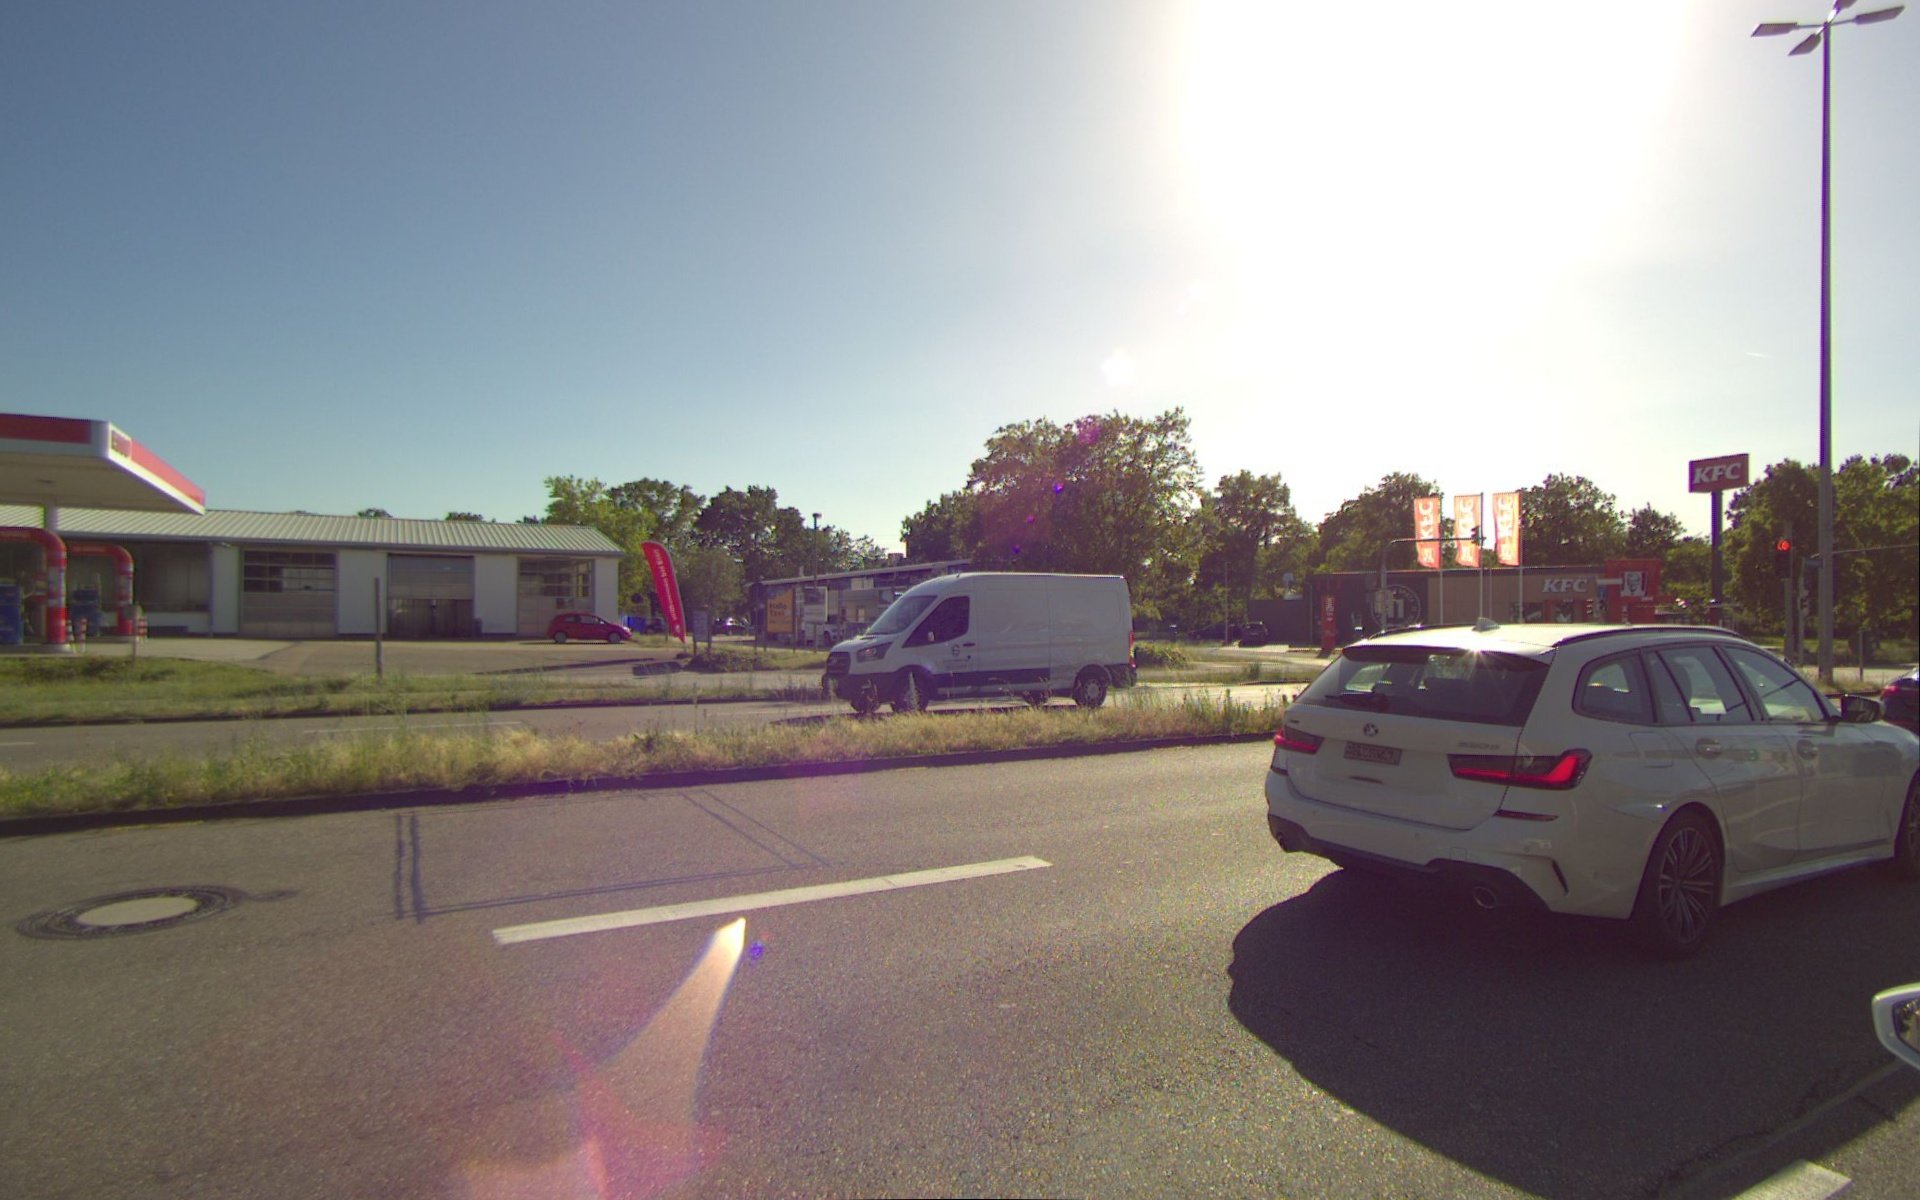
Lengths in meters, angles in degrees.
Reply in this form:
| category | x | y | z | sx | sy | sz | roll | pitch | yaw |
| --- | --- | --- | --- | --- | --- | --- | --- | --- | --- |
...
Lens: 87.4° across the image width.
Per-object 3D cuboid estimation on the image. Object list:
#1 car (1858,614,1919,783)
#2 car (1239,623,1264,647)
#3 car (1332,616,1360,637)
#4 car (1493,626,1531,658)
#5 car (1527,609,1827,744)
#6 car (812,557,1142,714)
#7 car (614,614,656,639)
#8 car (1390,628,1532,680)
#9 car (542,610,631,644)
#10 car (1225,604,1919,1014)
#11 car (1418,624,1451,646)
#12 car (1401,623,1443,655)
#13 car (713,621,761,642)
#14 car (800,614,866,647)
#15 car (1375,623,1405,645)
| category | x | y | z | sx | sy | sz | roll | pitch | yaw |
| --- | --- | --- | --- | --- | --- | --- | --- | --- | --- |
| car | 10.773 | 0.959 | 9.799 | 4.425 | 1.510 | 1.787 | 2 | 0 | -31 |
| car | 21.801 | 2.589 | 75.142 | 1.629 | 1.695 | 3.945 | 2 | 0 | 18 |
| car | 28.279 | 1.920 | 73.644 | 1.629 | 1.491 | 3.919 | 2 | 0 | 18 |
| car | 33.078 | 2.497 | 60.191 | 1.880 | 1.776 | 4.349 | 2 | 0 | 29 |
| car | 9.587 | 0.943 | 13.363 | 4.150 | 1.510 | 1.750 | 2 | 0 | -31 |
| car | 0.390 | 0.696 | 18.177 | 5.751 | 2.478 | 2.014 | 1 | -4 | -29 |
| car | -19.347 | 1.562 | 59.709 | 1.634 | 1.383 | 3.744 | 2 | 0 | -29 |
| car | 15.552 | 1.680 | 31.139 | 4.425 | 1.509 | 1.751 | 2 | -4 | -30 |
| car | -18.359 | 1.349 | 49.395 | 3.946 | 1.537 | 1.772 | 2 | 0 | -25 |
| car | 3.717 | 0.847 | 5.665 | 4.353 | 1.510 | 1.776 | 2 | 0 | -31 |
| car | 33.923 | 2.481 | 71.936 | 1.629 | 1.491 | 3.919 | 2 | 0 | 18 |
| car | 28.332 | 2.366 | 61.508 | 1.964 | 1.788 | 4.349 | 2 | 0 | 29 |
| car | -19.401 | 2.745 | 87.598 | 3.929 | 1.634 | 1.996 | 2 | 0 | -11 |
| car | -6.746 | 1.607 | 53.056 | 1.978 | 1.584 | 3.964 | 2 | 0 | -32 |
| car | 31.290 | 2.472 | 73.209 | 1.629 | 1.491 | 3.919 | 2 | 0 | 18 |
